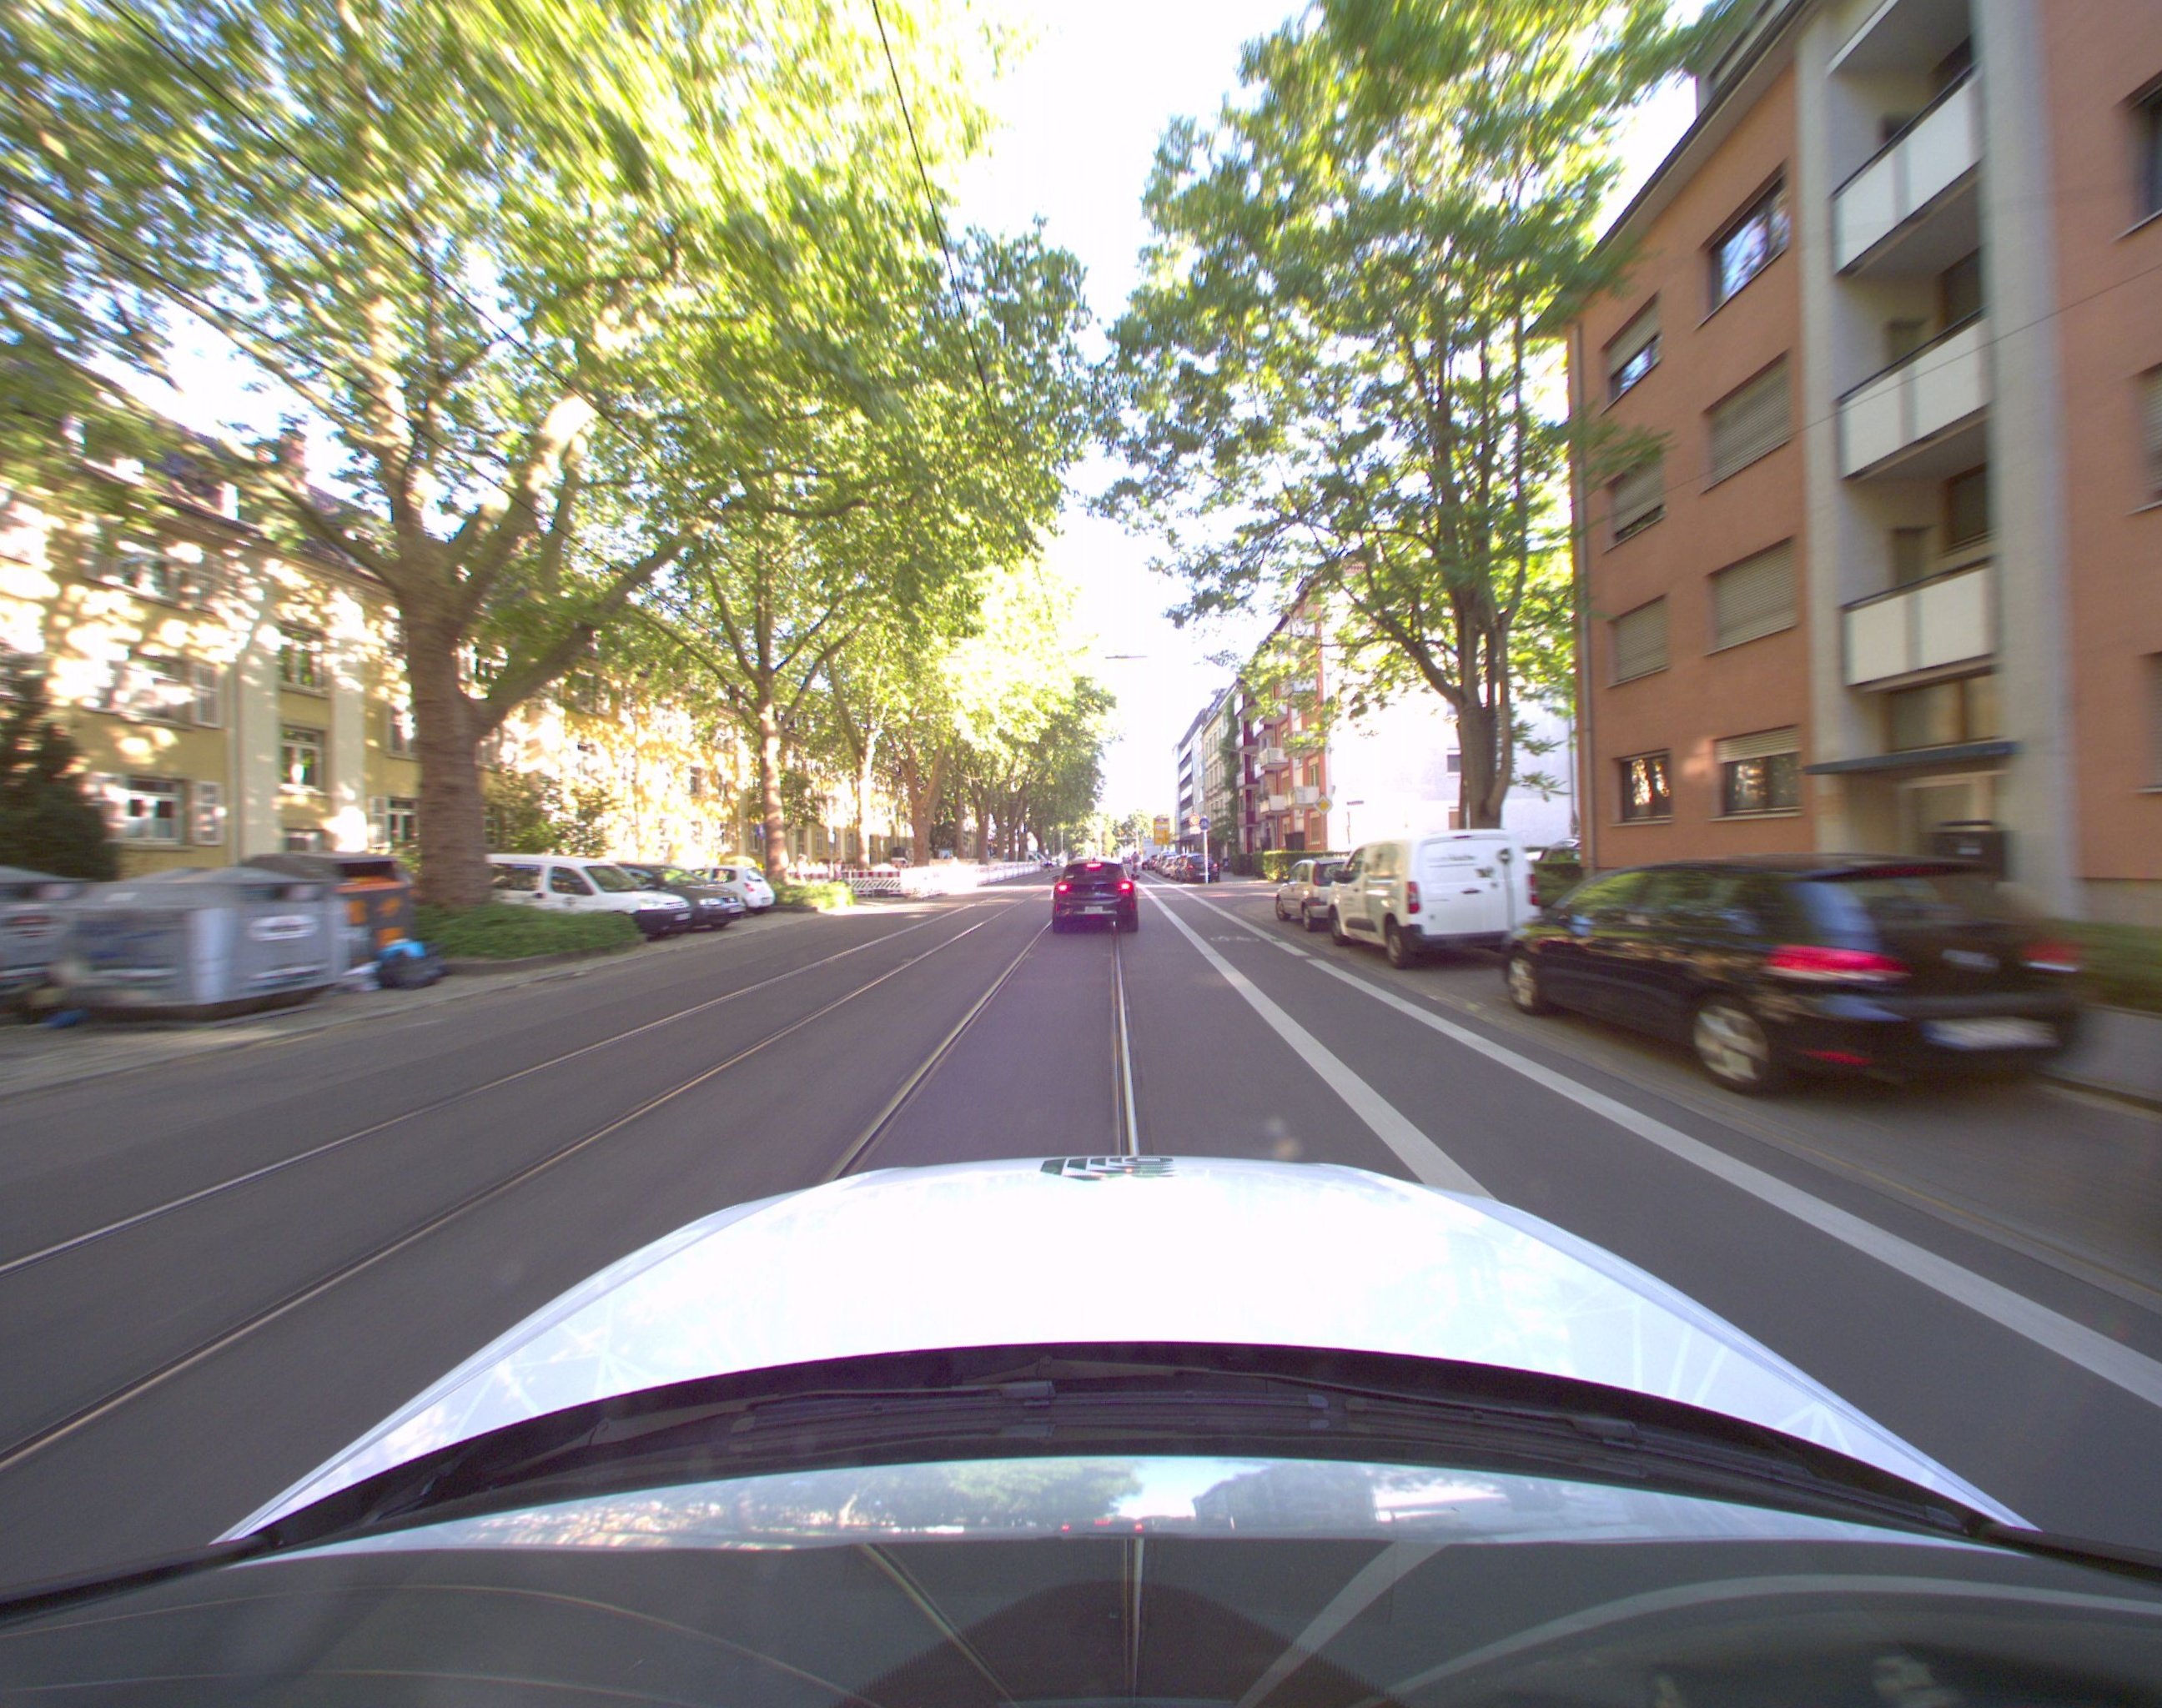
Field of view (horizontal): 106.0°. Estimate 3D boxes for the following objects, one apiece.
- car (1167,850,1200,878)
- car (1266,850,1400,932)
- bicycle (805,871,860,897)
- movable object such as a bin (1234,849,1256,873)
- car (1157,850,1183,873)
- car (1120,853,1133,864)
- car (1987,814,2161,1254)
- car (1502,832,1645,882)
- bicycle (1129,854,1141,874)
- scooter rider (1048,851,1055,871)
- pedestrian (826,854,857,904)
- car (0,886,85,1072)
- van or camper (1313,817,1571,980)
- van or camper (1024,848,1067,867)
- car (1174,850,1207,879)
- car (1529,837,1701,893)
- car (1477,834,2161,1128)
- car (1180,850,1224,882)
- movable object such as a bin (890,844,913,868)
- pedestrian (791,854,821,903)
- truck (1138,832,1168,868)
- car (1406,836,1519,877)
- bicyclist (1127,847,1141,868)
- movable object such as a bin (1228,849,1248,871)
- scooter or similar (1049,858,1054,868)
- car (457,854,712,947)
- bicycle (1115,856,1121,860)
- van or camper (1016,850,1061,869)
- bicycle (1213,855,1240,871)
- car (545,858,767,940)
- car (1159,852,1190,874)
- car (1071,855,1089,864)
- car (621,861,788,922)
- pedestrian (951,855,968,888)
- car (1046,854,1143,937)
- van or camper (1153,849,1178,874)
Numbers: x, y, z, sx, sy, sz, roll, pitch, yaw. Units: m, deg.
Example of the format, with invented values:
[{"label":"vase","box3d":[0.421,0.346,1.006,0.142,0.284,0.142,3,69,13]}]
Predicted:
[{"label":"car","box3d":[6.305,0.608,50.395,1.585,1.526,3.837,-4,-1,2]},{"label":"car","box3d":[5.197,0.690,17.358,1.699,1.473,4.002,-2,0,2]},{"label":"bicycle","box3d":[-9.946,1.203,32.632,1.964,0.962,0.726,-1,0,2]},{"label":"movable object such as a bin","box3d":[9.565,0.409,47.568,0.963,1.327,1.722,0,-1,2]},{"label":"car","box3d":[6.680,0.564,61.122,1.653,1.580,3.591,-3,0,2]},{"label":"car","box3d":[7.548,0.789,136.202,1.986,1.695,4.741,-3,0,2]},{"label":"car","box3d":[4.692,0.614,1.262,1.761,1.572,4.338,-3,0,2]},{"label":"car","box3d":[20.141,0.088,33.434,4.705,1.792,2.006,-2,3,0]},{"label":"bicycle","box3d":[4.437,0.778,66.779,0.912,1.561,3.408,-1,0,4]},{"label":"scooter rider","box3d":[-3.019,0.716,83.873,0.647,1.957,0.624,0,-1,2]},{"label":"pedestrian","box3d":[-8.482,0.873,28.832,0.819,1.745,0.797,0,-1,2]},{"label":"car","box3d":[-10.797,1.106,6.335,3.832,1.498,1.863,-2,0,2]},{"label":"van or camper","box3d":[4.943,0.516,12.023,1.748,1.864,4.832,-2,0,2]},{"label":"van or camper","box3d":[-4.951,0.504,114.081,5.701,2.644,2.271,0,-1,2]},{"label":"car","box3d":[6.183,0.570,46.378,1.520,1.590,3.754,0,0,3]},{"label":"car","box3d":[15.968,0.318,24.550,1.732,1.540,3.962,-1,0,-29]},{"label":"car","box3d":[4.887,0.651,6.307,1.699,1.473,4.170,-2,0,2]},{"label":"car","box3d":[6.179,0.600,41.952,1.727,1.462,3.918,-3,0,2]},{"label":"movable object such as a bin","box3d":[-14.307,0.180,65.022,1.328,1.868,2.008,0,-1,2]},{"label":"pedestrian","box3d":[-10.028,0.892,29.718,0.819,1.745,0.797,0,-1,2]},{"label":"truck","box3d":[7.330,-0.371,83.432,2.528,3.338,7.199,-4,0,3]},{"label":"car","box3d":[15.511,0.075,33.258,3.900,1.482,1.562,-1,3,0]},{"label":"bicyclist","box3d":[4.312,0.287,66.512,1.084,1.647,1.402,-1,0,3]},{"label":"movable object such as a bin","box3d":[9.532,0.353,49.433,0.920,1.327,1.682,0,-1,2]},{"label":"scooter or similar","box3d":[-2.995,0.943,83.919,0.406,1.083,1.339,0,-1,3]},{"label":"car","box3d":[-10.108,0.912,16.775,4.181,1.757,1.741,-1,0,3]},{"label":"bicycle","box3d":[7.920,0.834,173.980,0.782,0.992,2.254,-1,0,18]},{"label":"van or camper","box3d":[-5.469,0.680,104.751,5.475,2.379,2.273,-1,-1,5]},{"label":"bicycle","box3d":[10.701,0.678,59.851,1.883,1.029,0.477,-3,0,7]},{"label":"car","box3d":[-9.899,1.019,19.122,4.210,1.688,1.938,-2,0,8]},{"label":"car","box3d":[6.421,0.592,56.156,1.653,1.399,4.741,-3,0,2]},{"label":"car","box3d":[-0.310,1.127,176.024,1.929,1.695,4.279,-3,0,-31]},{"label":"car","box3d":[-10.669,1.036,23.252,3.832,1.498,1.863,-2,0,2]},{"label":"pedestrian","box3d":[-6.170,0.899,41.364,0.714,1.669,0.779,0,-1,2]},{"label":"car","box3d":[0.315,0.761,17.071,1.775,1.496,4.002,-1,0,2]},{"label":"van or camper","box3d":[6.841,0.584,66.173,1.662,1.883,4.213,-3,0,3]}]
